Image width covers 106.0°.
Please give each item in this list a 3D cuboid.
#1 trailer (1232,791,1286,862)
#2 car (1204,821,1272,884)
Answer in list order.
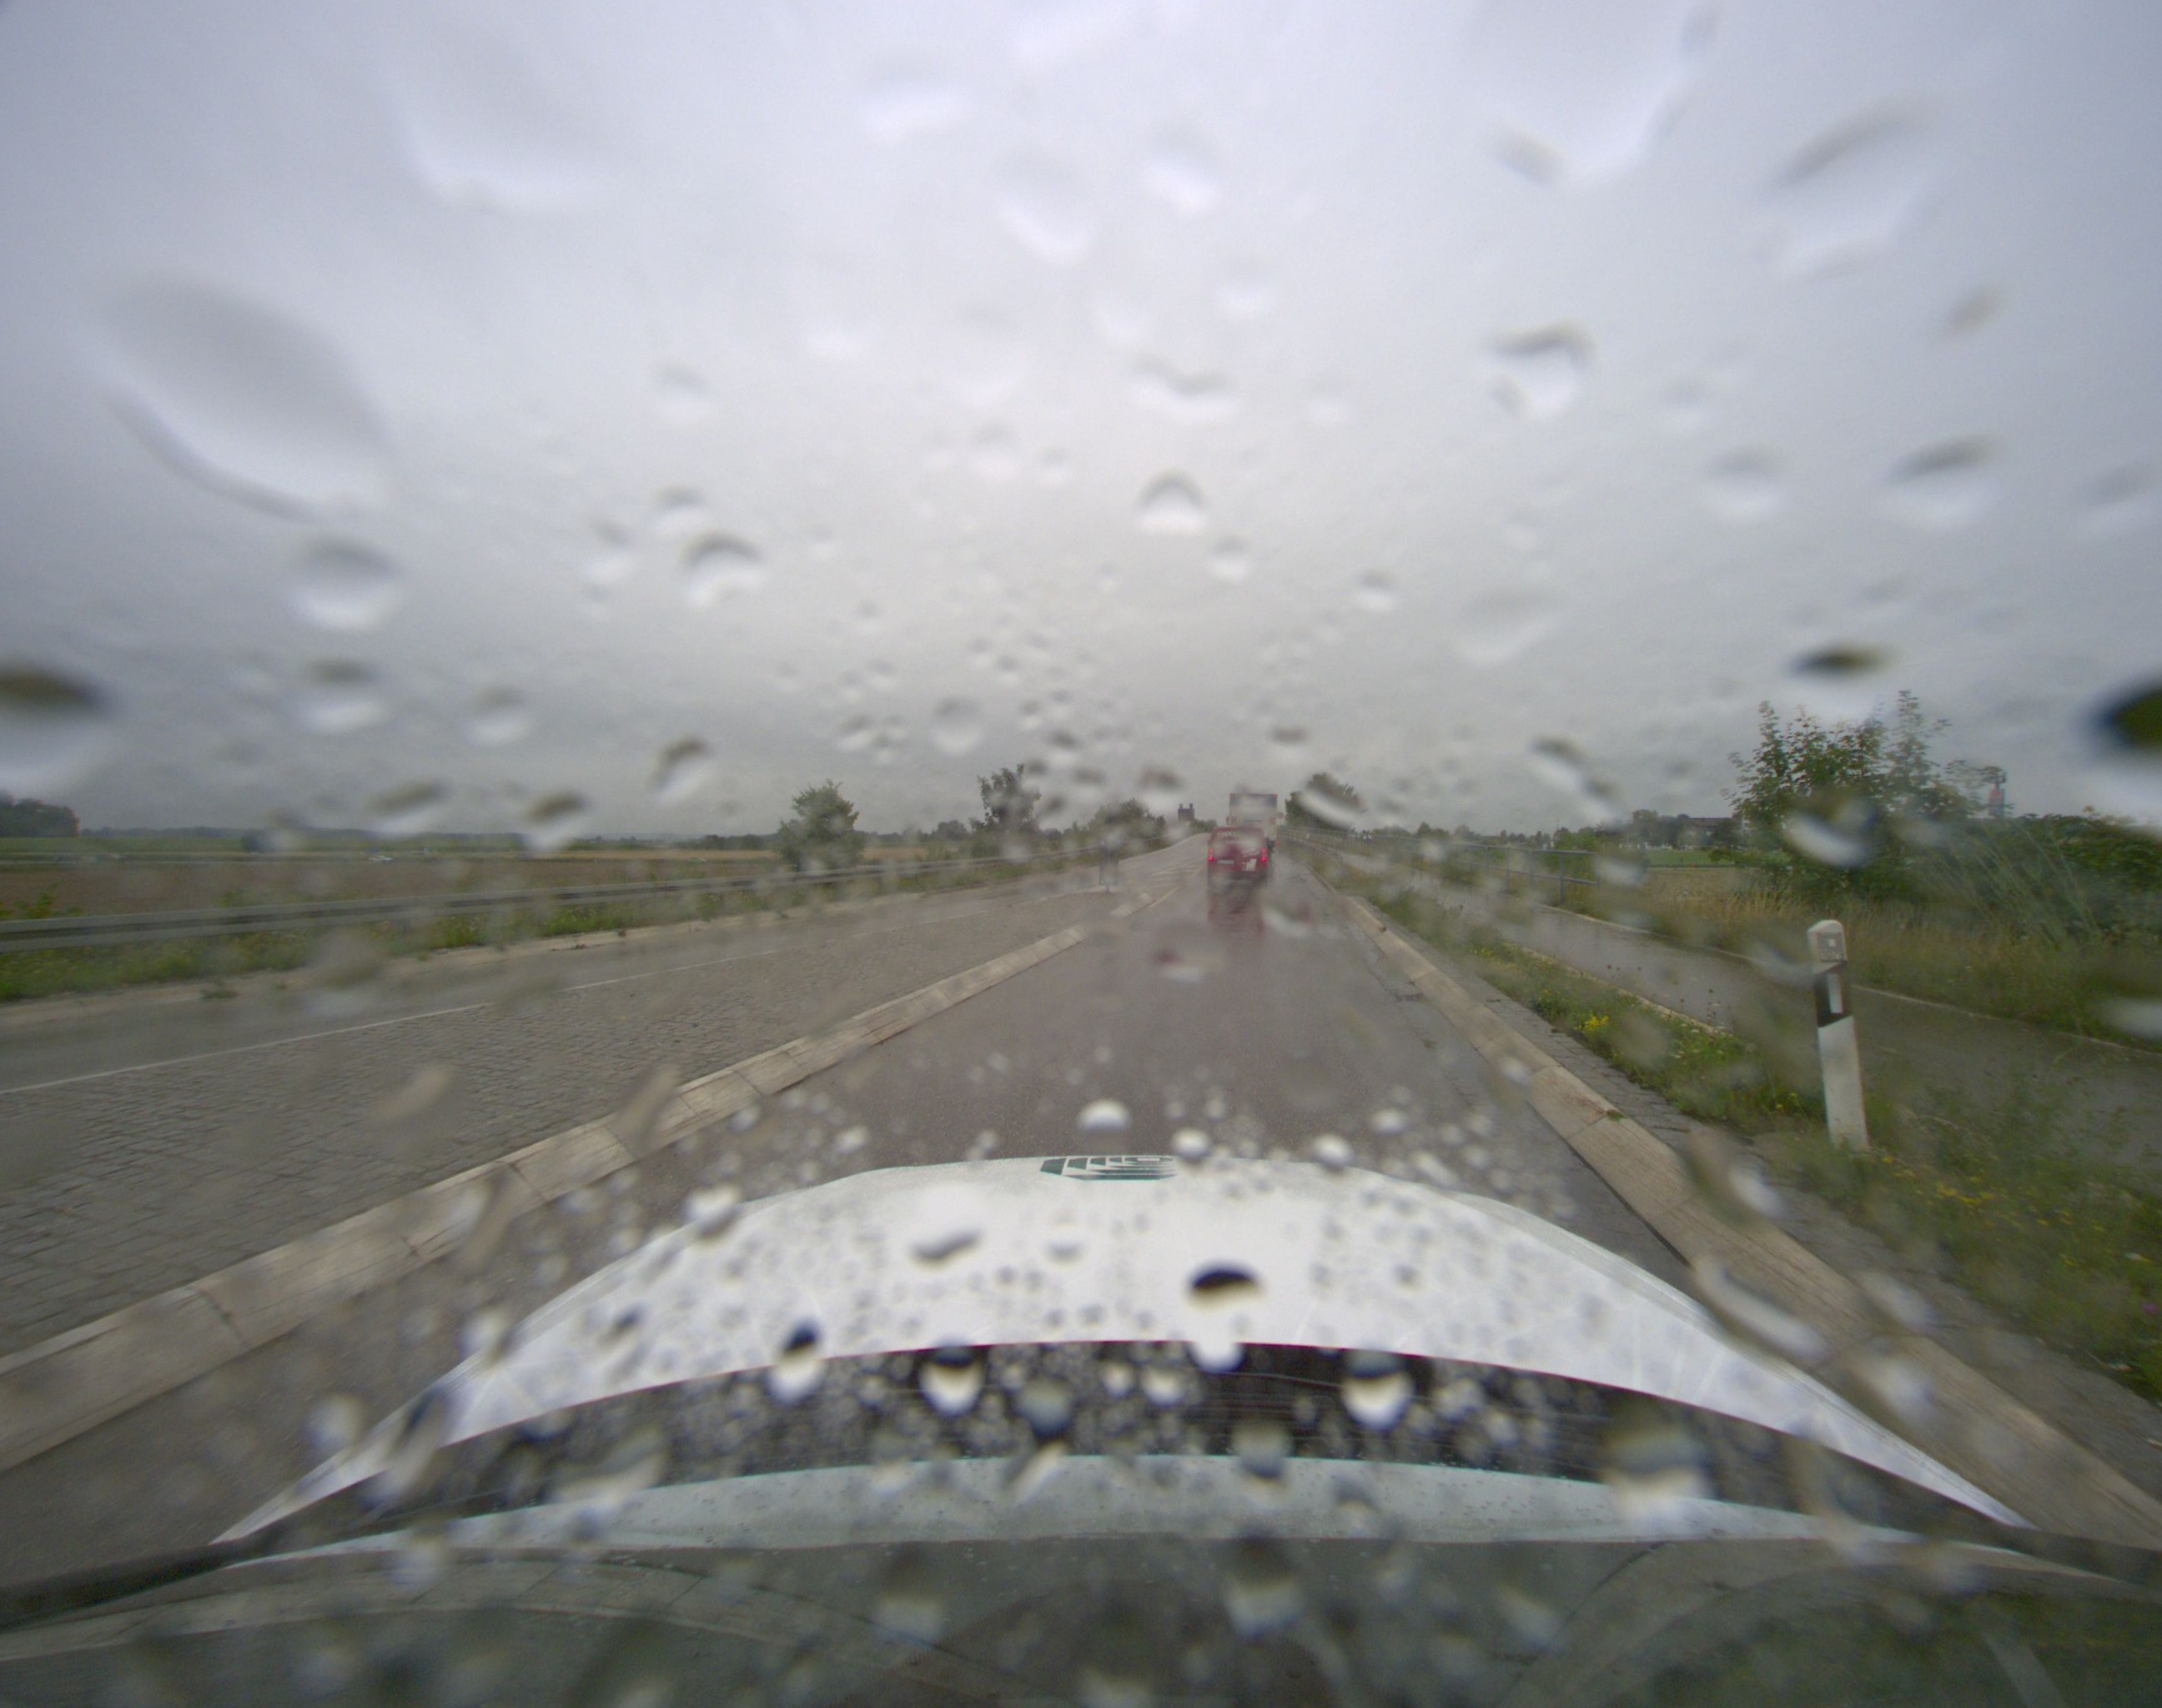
[{"bbox_3d":[10.498,-1.583,48.300,2.813,3.818,9.748,0,1,12],"label":"trailer"},{"bbox_3d":[5.269,-0.131,26.879,1.980,1.870,4.997,-1,2,13],"label":"car"}]
